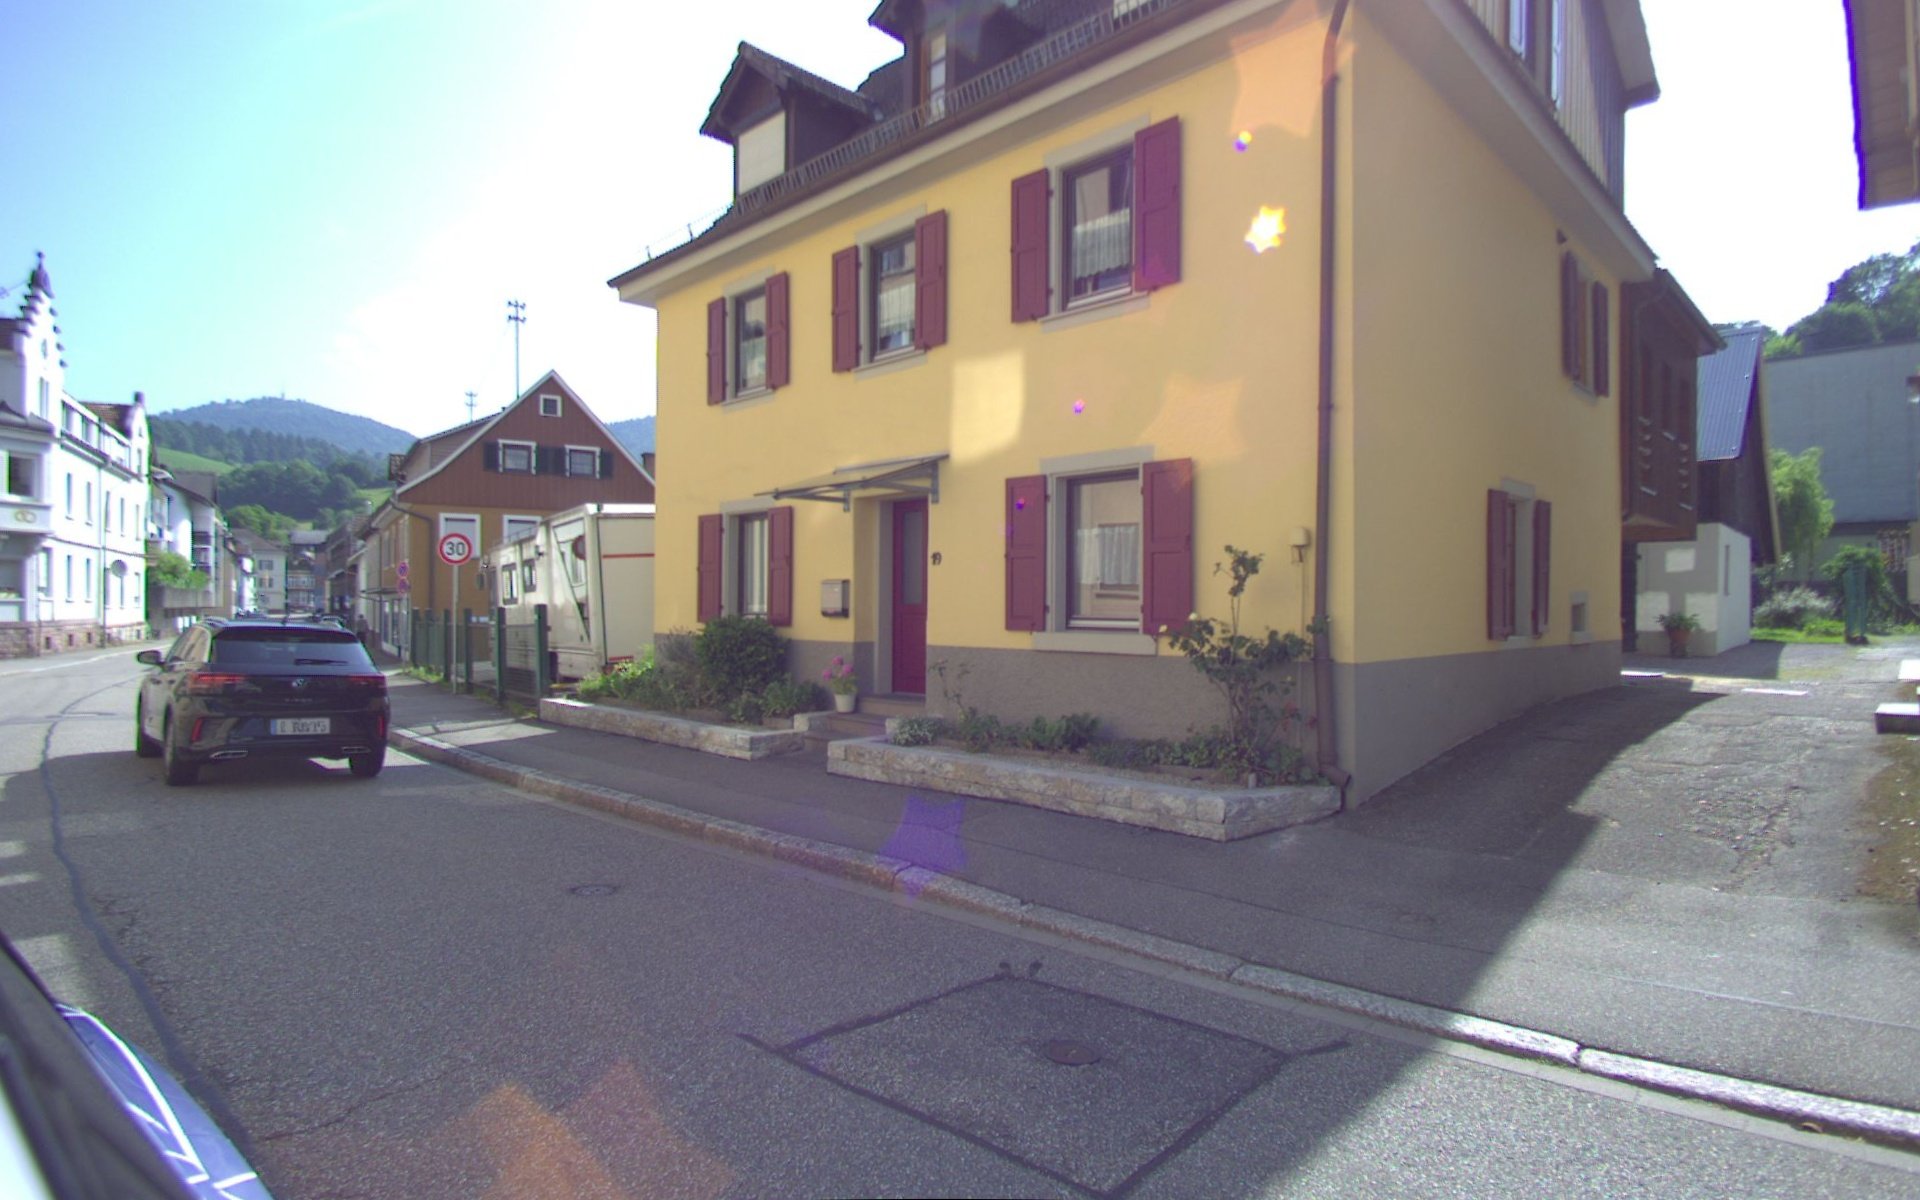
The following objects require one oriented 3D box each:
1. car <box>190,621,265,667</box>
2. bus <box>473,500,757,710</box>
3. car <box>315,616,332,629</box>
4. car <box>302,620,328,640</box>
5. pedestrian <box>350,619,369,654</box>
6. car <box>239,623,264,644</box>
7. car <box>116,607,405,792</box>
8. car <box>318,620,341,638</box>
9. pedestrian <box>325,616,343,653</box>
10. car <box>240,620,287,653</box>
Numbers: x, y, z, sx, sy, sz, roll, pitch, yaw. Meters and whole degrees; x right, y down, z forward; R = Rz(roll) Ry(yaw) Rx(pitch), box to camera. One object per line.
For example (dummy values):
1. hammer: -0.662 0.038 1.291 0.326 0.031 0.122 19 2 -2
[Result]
1. car: -25.343 1.502 35.126 1.636 1.460 4.271 4 -3 -30
2. bus: -7.273 0.108 20.141 2.783 3.252 9.057 -2 0 -35
3. car: -86.295 3.064 137.236 1.758 1.587 3.899 -3 1 -34
4. car: -57.547 2.652 90.256 1.697 1.810 4.279 1 -1 -35
5. pedestrian: -27.646 1.680 46.577 0.725 1.576 0.827 -2 0 -32
6. car: -70.806 3.312 101.105 1.967 2.029 4.009 -1 0 -37
7. car: -7.432 0.944 10.596 1.802 1.549 4.003 6 -5 -43
8. car: -54.181 2.519 86.935 1.643 1.443 3.578 -1 -1 -32
9. pedestrian: -28.471 1.543 46.046 0.630 1.638 0.779 -2 0 -31
10. car: -33.816 1.753 49.099 1.724 1.464 4.037 5 -4 -35
